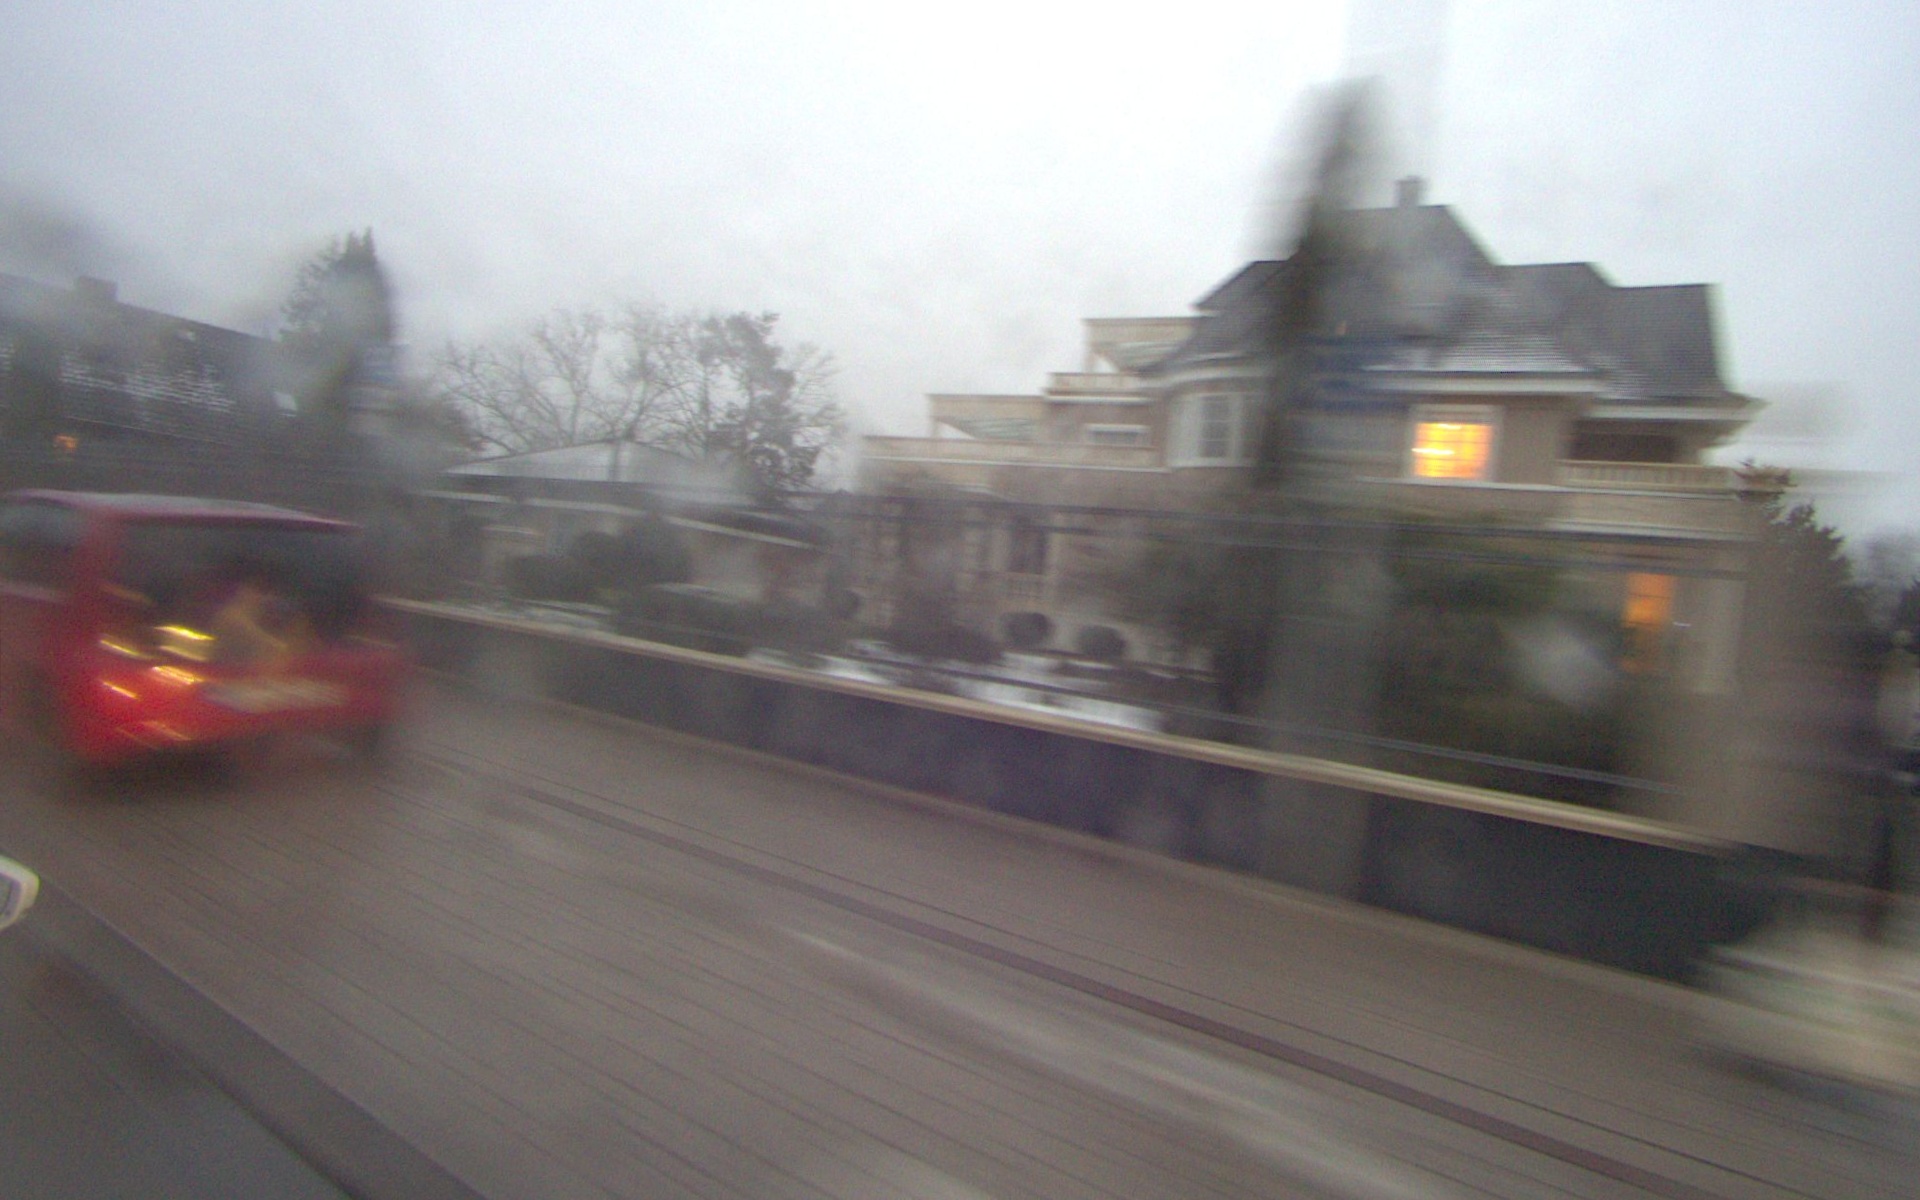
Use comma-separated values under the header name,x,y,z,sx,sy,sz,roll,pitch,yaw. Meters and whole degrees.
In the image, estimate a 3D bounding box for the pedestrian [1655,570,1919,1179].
name,x,y,z,sx,sy,sz,roll,pitch,yaw
pedestrian,3.124,0.849,3.402,1.038,1.765,0.987,7,3,32

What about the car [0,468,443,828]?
name,x,y,z,sx,sy,sz,roll,pitch,yaw
car,-4.817,0.076,6.005,3.336,1.562,1.647,7,4,34
